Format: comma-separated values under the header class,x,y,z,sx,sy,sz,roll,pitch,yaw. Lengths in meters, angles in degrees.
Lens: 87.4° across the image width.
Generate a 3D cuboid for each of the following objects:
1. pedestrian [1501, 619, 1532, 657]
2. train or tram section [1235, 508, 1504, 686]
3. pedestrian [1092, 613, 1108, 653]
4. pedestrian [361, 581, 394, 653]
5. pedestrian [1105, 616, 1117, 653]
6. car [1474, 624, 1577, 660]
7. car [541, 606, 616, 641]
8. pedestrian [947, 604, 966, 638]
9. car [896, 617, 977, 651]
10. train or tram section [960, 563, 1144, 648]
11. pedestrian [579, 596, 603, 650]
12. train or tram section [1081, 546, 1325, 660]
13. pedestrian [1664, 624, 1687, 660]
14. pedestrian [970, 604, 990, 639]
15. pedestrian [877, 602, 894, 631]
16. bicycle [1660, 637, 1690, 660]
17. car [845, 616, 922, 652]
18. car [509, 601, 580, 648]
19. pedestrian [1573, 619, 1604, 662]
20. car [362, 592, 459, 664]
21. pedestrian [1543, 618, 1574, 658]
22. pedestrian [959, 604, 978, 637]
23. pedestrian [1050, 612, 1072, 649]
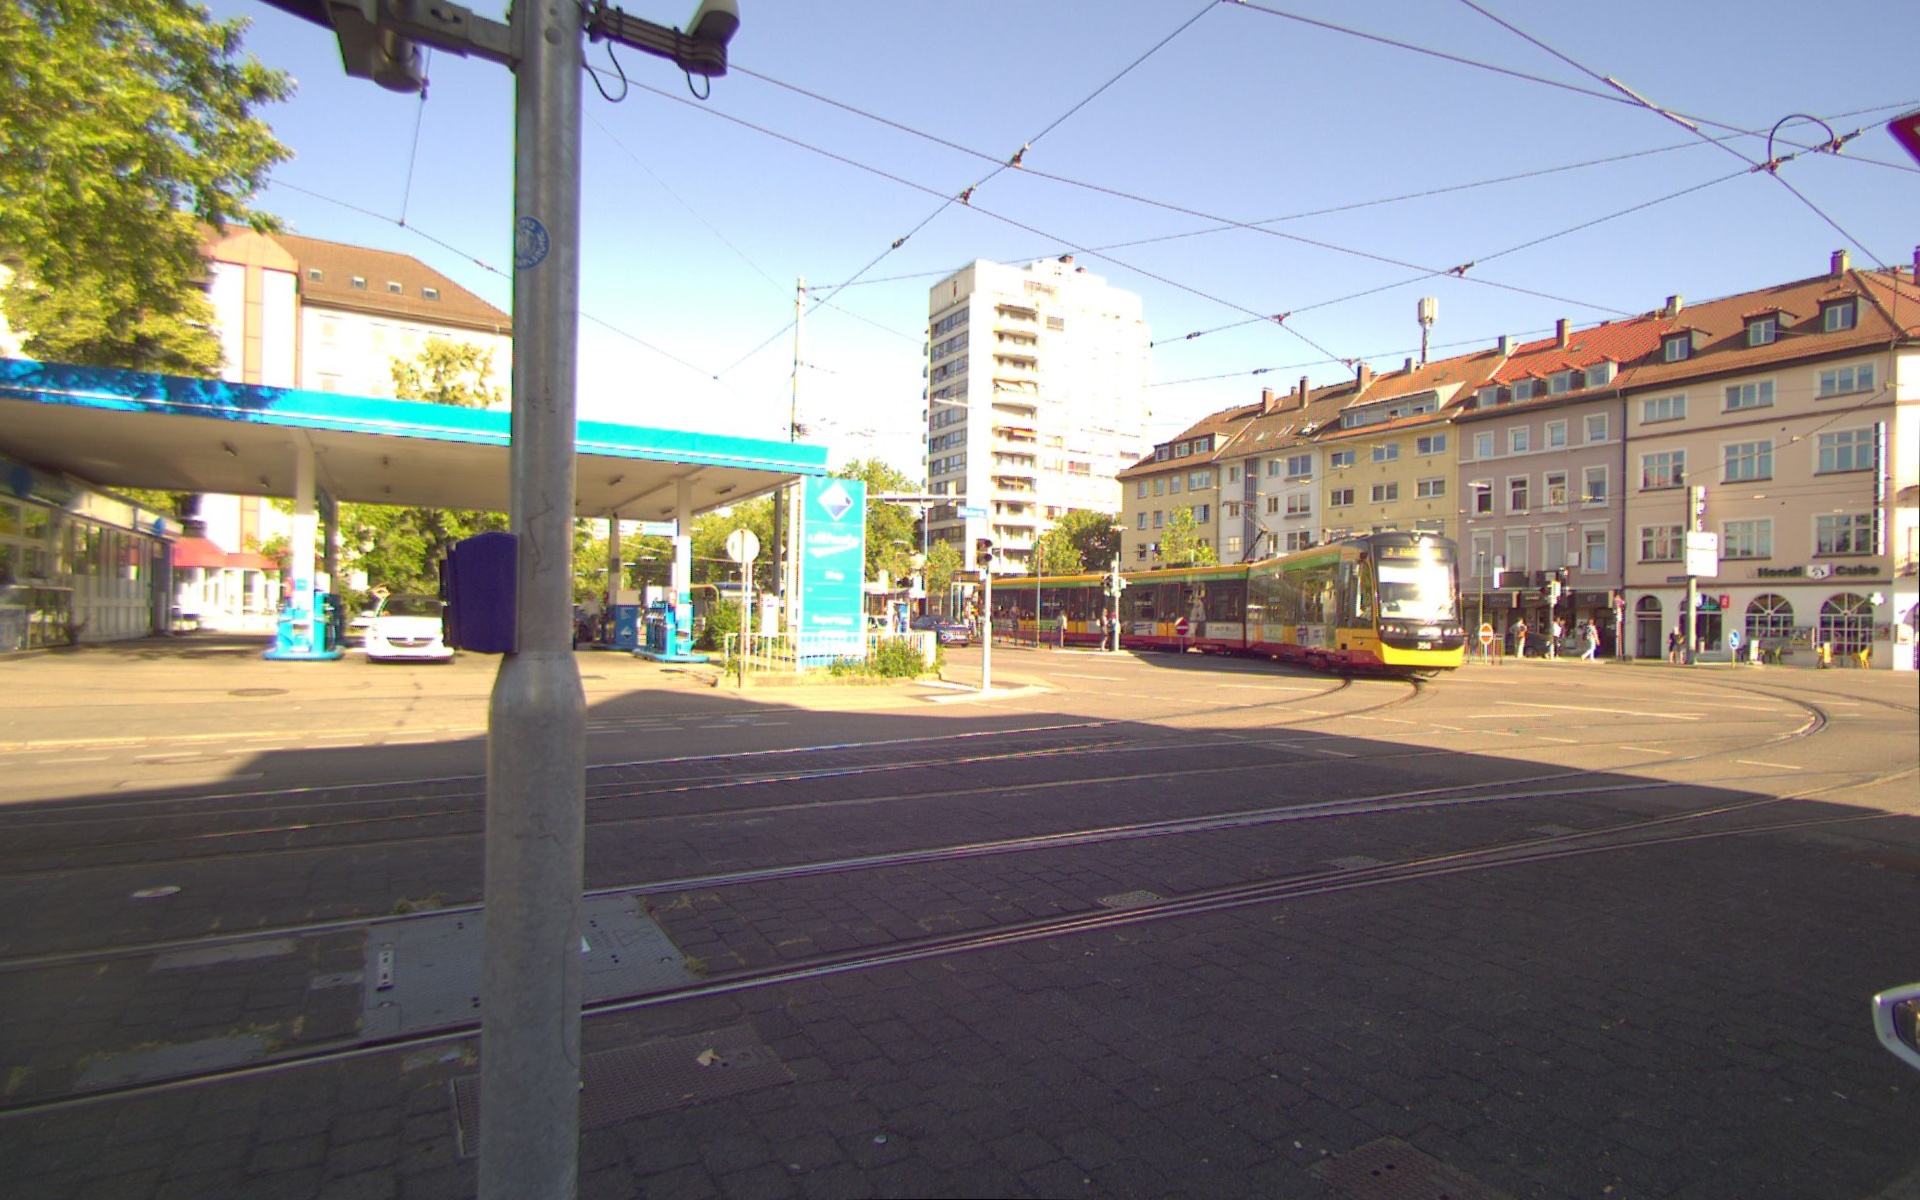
class,x,y,z,sx,sy,sz,roll,pitch,yaw
pedestrian,24.423,1.666,44.097,0.821,1.598,0.847,2,0,-20
train or tram section,10.785,0.044,28.589,2.883,3.864,13.058,1,-1,3
pedestrian,5.852,1.389,41.965,0.626,1.666,0.462,0,0,6
pedestrian,-14.206,0.420,24.500,0.640,1.724,0.497,1,-1,-26
pedestrian,6.150,1.403,40.966,0.472,1.525,0.462,0,0,6
car,30.821,2.289,54.847,2.277,1.734,4.350,2,0,-27
car,-16.864,1.039,44.599,1.722,1.461,3.572,1,-1,5
pedestrian,-0.184,1.108,53.155,0.747,1.756,0.797,0,0,-28
car,-1.164,1.614,48.366,1.875,1.550,3.955,1,-2,-39
train or tram section,4.327,0.337,51.567,2.908,3.864,12.020,1,-1,-31
pedestrian,-11.948,0.748,32.530,0.491,1.724,0.500,0,-1,25
train or tram section,9.160,0.206,40.567,2.898,3.864,12.759,1,-1,-21
pedestrian,34.149,2.021,47.950,0.743,1.692,0.579,2,0,-30
pedestrian,1.023,1.076,51.135,0.747,1.756,0.797,0,0,-28
pedestrian,-4.556,0.997,61.418,0.747,1.756,0.797,0,0,-28
bicycle,34.141,2.318,47.948,1.479,1.091,0.570,2,0,-30
car,-3.591,1.550,46.736,1.871,1.550,3.963,1,-1,-33
car,-13.551,0.781,32.675,1.737,1.461,3.543,1,-1,-29
pedestrian,24.347,1.566,38.922,0.817,1.598,0.552,2,0,-2
car,-12.199,0.601,22.348,1.737,1.461,3.543,1,-1,-29
pedestrian,24.981,1.586,41.921,0.821,1.598,0.724,2,0,-20
pedestrian,0.451,1.096,53.380,0.747,1.756,0.797,0,0,-28
pedestrian,4.459,1.337,44.493,0.607,1.598,0.828,0,0,-26
